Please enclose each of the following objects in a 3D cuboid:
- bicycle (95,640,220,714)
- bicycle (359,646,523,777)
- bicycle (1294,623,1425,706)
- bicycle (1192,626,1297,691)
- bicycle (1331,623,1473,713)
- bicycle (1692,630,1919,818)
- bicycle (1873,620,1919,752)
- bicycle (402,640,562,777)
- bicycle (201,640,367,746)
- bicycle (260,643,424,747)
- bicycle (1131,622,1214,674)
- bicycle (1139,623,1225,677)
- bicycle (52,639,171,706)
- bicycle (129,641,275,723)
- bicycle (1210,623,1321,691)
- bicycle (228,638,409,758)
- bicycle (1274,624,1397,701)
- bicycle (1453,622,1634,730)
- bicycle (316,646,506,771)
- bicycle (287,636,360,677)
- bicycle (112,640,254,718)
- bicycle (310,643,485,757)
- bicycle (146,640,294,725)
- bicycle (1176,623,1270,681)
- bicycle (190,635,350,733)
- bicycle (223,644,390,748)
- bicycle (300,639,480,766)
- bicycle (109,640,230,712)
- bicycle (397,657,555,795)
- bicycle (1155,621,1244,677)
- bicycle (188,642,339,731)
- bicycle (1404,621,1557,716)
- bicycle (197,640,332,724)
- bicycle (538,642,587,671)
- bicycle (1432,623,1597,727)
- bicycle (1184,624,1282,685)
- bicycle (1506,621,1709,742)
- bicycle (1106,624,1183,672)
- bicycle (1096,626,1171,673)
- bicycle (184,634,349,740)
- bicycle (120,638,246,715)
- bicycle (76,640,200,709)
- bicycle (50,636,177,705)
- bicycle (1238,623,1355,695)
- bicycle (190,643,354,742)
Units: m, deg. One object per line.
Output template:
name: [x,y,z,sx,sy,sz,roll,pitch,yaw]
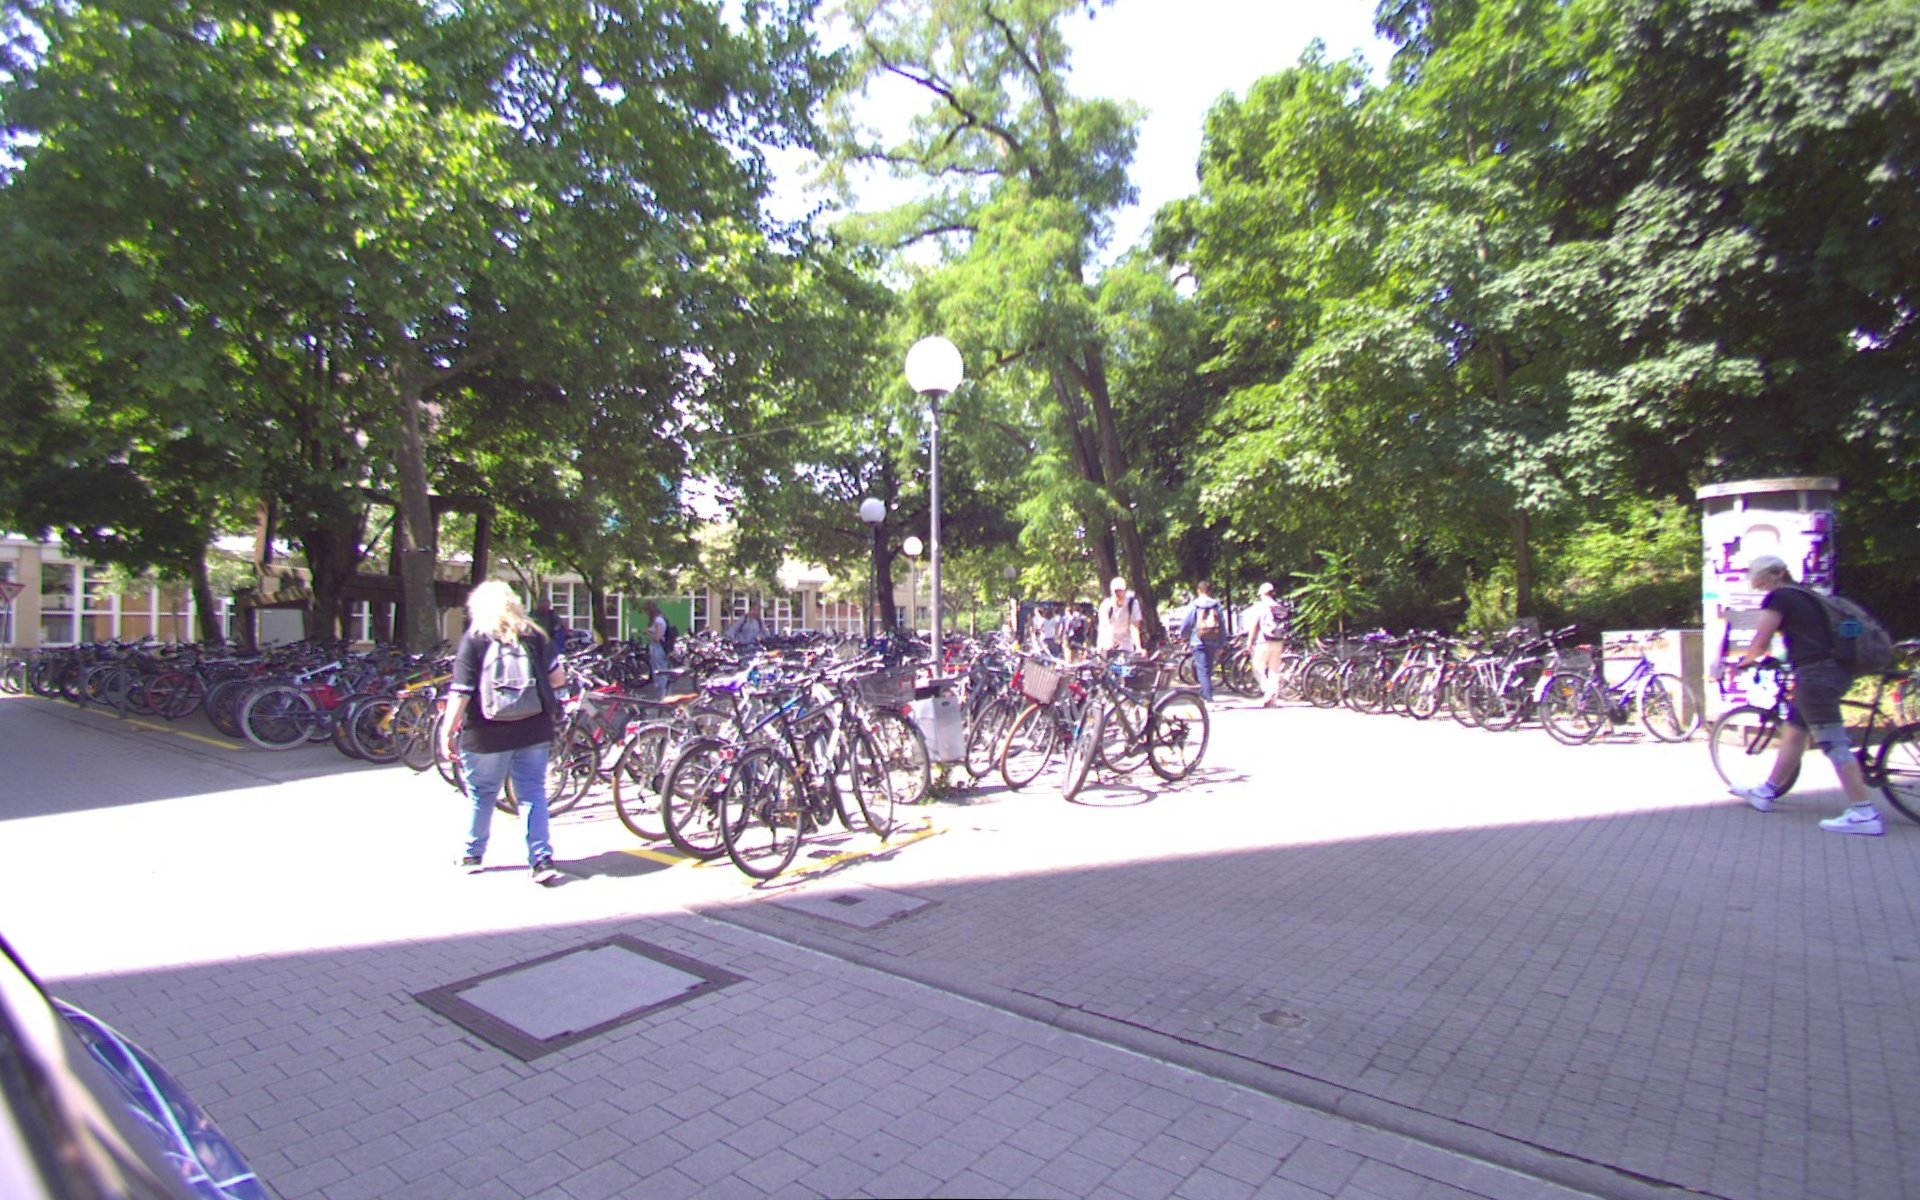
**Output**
bicycle: [-13.213,1.254,16.718,1.603,1.116,0.498,0,-1,-37]
bicycle: [-5.057,1.042,9.981,0.469,1.116,1.693,-1,-1,12]
bicycle: [5.725,0.904,14.505,1.748,1.118,0.475,-1,-1,-11]
bicycle: [5.166,1.053,18.401,1.749,1.118,0.518,-1,-1,-8]
bicycle: [5.875,0.885,13.459,1.748,1.118,0.475,-1,-1,-11]
bicycle: [5.893,0.769,6.598,0.466,1.118,1.851,-1,-1,-20]
bicycle: [9.002,0.735,9.058,1.747,1.118,0.475,-1,-1,-21]
bicycle: [-4.608,1.000,9.879,0.469,1.166,1.693,-1,-1,12]
bicycle: [-8.277,1.102,12.471,0.472,1.154,1.683,-1,-1,28]
bicycle: [-7.408,1.102,12.220,0.472,1.116,1.683,-1,-1,28]
bicycle: [4.831,1.083,23.008,1.749,1.118,0.518,-1,-1,-8]
bicycle: [4.873,1.088,22.249,1.749,1.118,0.518,-1,-1,-8]
bicycle: [-15.556,1.305,18.589,0.496,1.116,1.611,-1,-1,34]
bicycle: [-11.518,1.220,15.419,0.496,1.116,1.717,-2,-1,40]
bicycle: [5.275,0.979,17.507,1.749,1.118,0.518,-1,-1,-8]
bicycle: [-7.232,1.064,11.493,0.535,1.207,1.681,-1,-1,31]
bicycle: [5.804,0.949,15.655,1.748,1.118,0.518,-1,-1,-11]
bicycle: [6.399,0.820,11.116,1.750,1.118,0.475,-1,-1,-6]
bicycle: [-5.615,1.065,10.453,0.580,1.116,1.683,-1,-1,28]
bicycle: [-18.506,1.618,29.463,0.392,1.116,1.818,-1,-1,33]
bicycle: [-12.206,1.220,15.955,1.711,1.116,0.576,0,-1,-31]
bicycle: [-6.264,1.076,11.363,0.563,1.116,1.683,-1,-1,28]
bicycle: [-10.989,1.199,15.087,0.496,1.135,1.720,-1,-1,35]
bicycle: [5.322,1.049,20.517,1.749,1.118,0.518,-1,-1,-8]
bicycle: [-9.296,1.098,13.695,0.496,1.187,1.718,-2,-1,39]
bicycle: [-7.863,1.117,12.254,0.472,1.116,1.683,-1,-1,28]
bicycle: [-6.024,1.037,10.787,0.472,1.196,1.683,-1,-1,28]
bicycle: [-13.450,1.276,17.274,1.603,1.116,0.564,0,-1,-37]
bicycle: [-4.237,1.060,8.988,0.468,1.026,1.697,-1,-1,5]
bicycle: [5.057,1.022,21.394,1.749,1.118,0.518,-1,-1,-8]
bicycle: [-9.745,1.171,14.232,0.494,1.116,1.724,-1,-1,27]
bicycle: [6.496,0.840,12.640,1.748,1.118,0.475,-1,-1,-11]
bicycle: [-10.238,1.180,14.975,0.492,1.116,1.732,-1,-1,16]
bicycle: [-16.561,2.342,42.169,0.605,1.116,1.805,0,-1,41]
bicycle: [6.391,0.846,11.673,1.748,1.118,0.475,-1,-1,-11]
bicycle: [5.289,1.052,19.654,1.749,1.118,0.518,-1,-1,-8]
bicycle: [6.389,0.786,10.007,1.750,1.118,0.475,-1,-1,-6]
bicycle: [4.496,1.174,24.740,1.749,1.118,0.518,-1,-1,-8]
bicycle: [4.367,1.237,25.500,1.749,1.118,0.518,-1,-1,-8]
bicycle: [-8.991,1.083,13.184,0.495,1.245,1.721,-1,-1,32]
bicycle: [-12.617,1.223,16.483,1.603,1.152,0.498,0,-1,-37]
bicycle: [-14.693,1.310,18.127,1.699,1.116,0.720,0,-1,-40]
bicycle: [-15.855,1.296,19.005,0.496,1.170,1.764,-1,-1,34]
bicycle: [5.474,0.943,16.472,1.748,1.118,0.518,-1,-1,-11]
bicycle: [-8.667,1.128,12.822,0.495,1.116,1.683,-1,-1,29]
